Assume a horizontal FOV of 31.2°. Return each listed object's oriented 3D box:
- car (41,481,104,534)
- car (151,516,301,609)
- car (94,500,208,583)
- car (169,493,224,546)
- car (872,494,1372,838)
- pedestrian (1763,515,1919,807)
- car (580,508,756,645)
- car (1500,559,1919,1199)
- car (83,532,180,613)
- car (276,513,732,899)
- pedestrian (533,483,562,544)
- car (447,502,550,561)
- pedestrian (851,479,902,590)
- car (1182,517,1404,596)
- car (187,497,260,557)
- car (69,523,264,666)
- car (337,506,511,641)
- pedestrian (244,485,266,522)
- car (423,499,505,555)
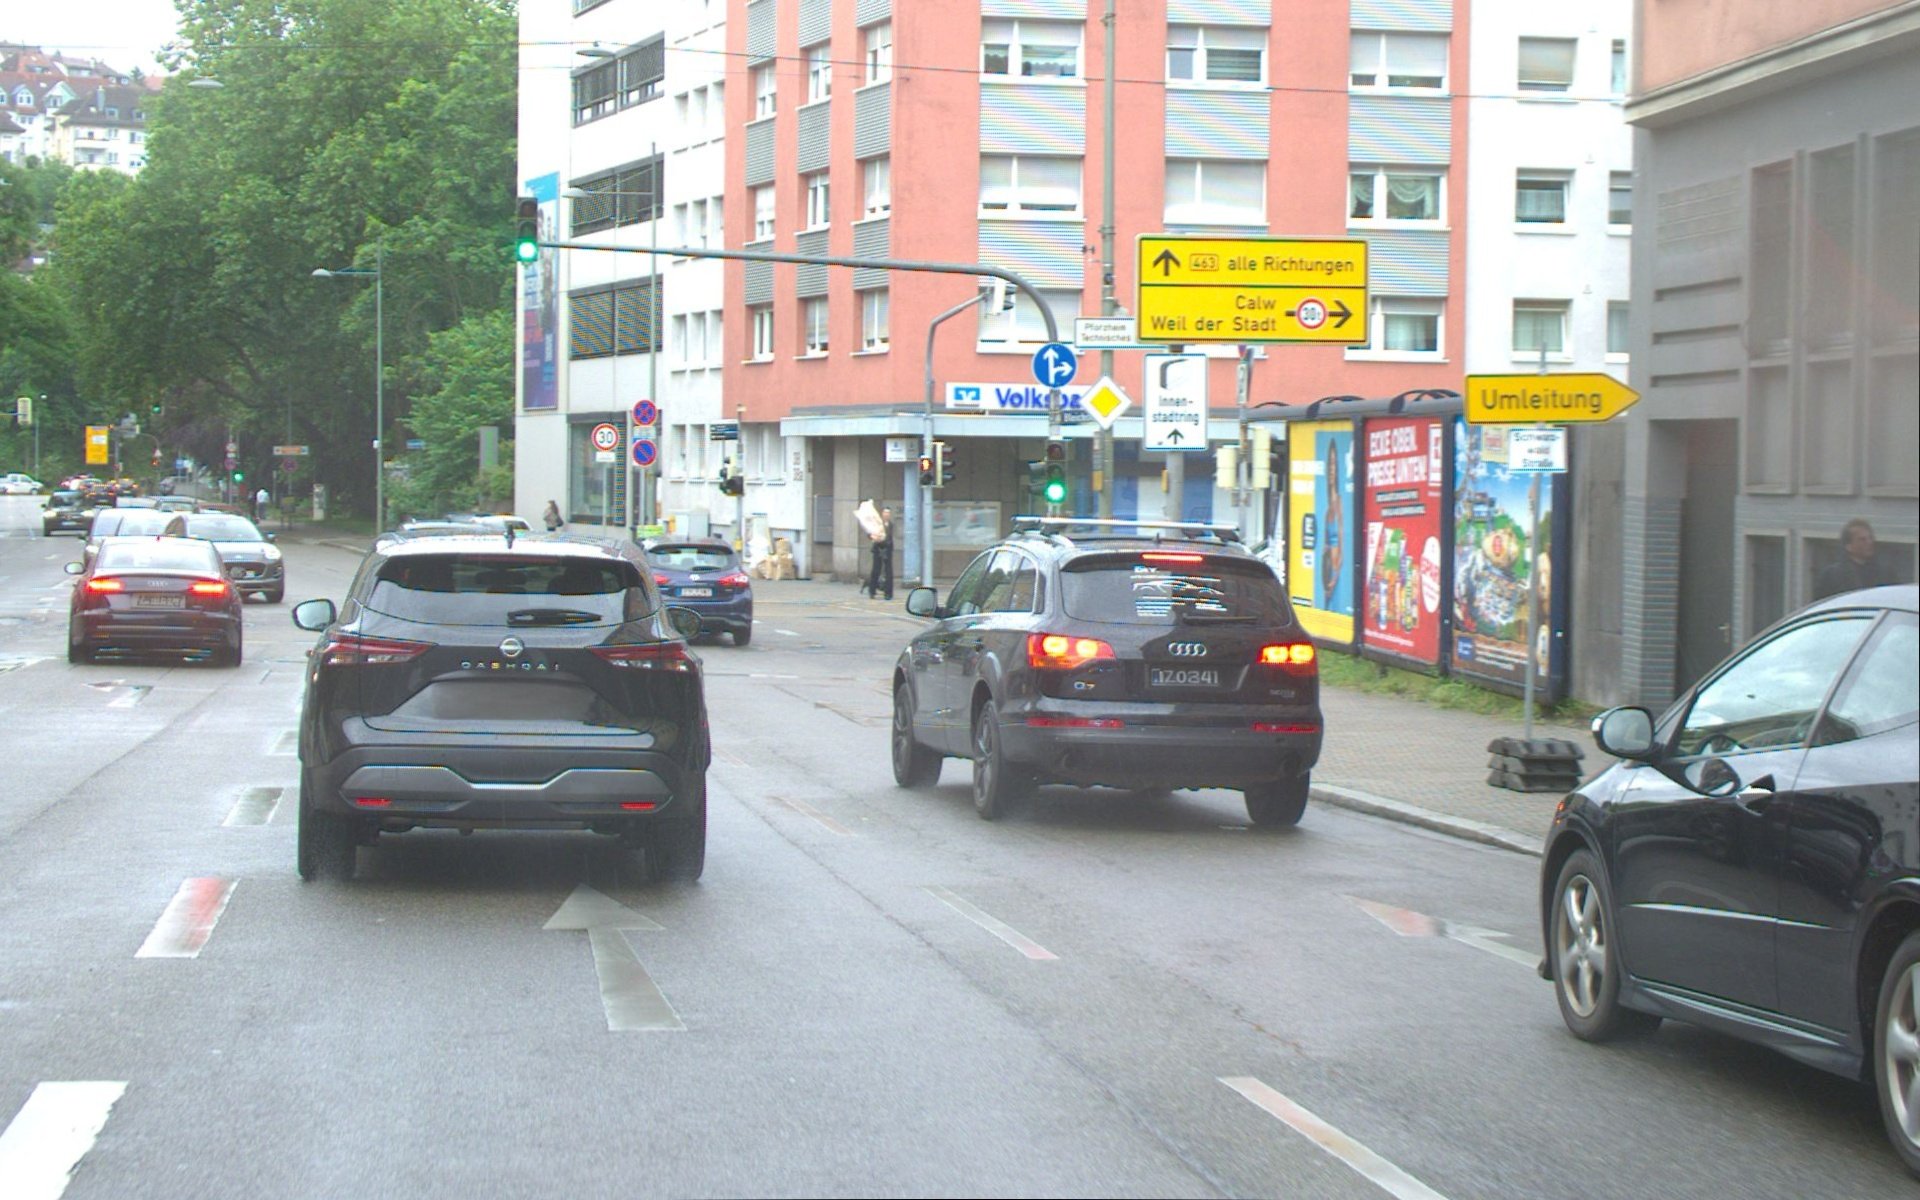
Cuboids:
[{"bbox_3d":[-33.339,-3.497,129.188,1.993,1.853,4.002,2,2,-11],"label":"car"},{"bbox_3d":[-12.966,-0.688,60.572,1.855,1.547,4.228,-1,2,-22],"label":"car"},{"bbox_3d":[-15.556,-1.130,65.969,1.933,1.521,4.136,0,1,-16],"label":"car"},{"bbox_3d":[-27.815,-2.937,125.224,1.820,1.790,3.867,2,2,-14],"label":"car"},{"bbox_3d":[0.858,0.325,21.665,2.020,1.863,4.901,2,1,-10],"label":"car"},{"bbox_3d":[5.592,0.365,21.687,0.672,1.781,1.095,1,2,-6],"label":"pedestrian"},{"bbox_3d":[-4.201,-0.371,48.907,1.945,1.810,4.001,-2,2,-12],"label":"car"},{"bbox_3d":[2.943,0.648,9.389,1.783,1.491,4.057,1,0,-8],"label":"car"},{"bbox_3d":[-17.055,-0.594,70.906,1.820,1.603,4.432,0,1,-12],"label":"car"},{"bbox_3d":[-2.276,0.421,16.590,1.894,1.623,4.001,1,1,-10],"label":"car"},{"bbox_3d":[-11.694,-2.452,97.428,0.612,1.731,0.681,-2,2,-23],"label":"pedestrian"},{"bbox_3d":[-11.960,-1.796,88.902,1.774,1.396,4.582,-2,3,-19],"label":"car"},{"bbox_3d":[-1.661,-1.311,68.404,0.825,2.151,0.770,2,2,-10],"label":"pedestrian"},{"bbox_3d":[6.402,-0.861,66.318,3.945,1.481,1.703,0,2,-10],"label":"car"},{"bbox_3d":[-21.829,-2.175,101.841,1.820,1.606,3.867,2,2,-16],"label":"car"},{"bbox_3d":[-9.039,-0.101,39.188,1.993,1.383,4.502,2,2,-13],"label":"car"},{"bbox_3d":[-7.245,-0.399,46.193,1.945,1.679,4.001,-2,2,-13],"label":"car"},{"bbox_3d":[-35.160,-4.815,171.477,0.720,1.785,0.667,3,2,32],"label":"pedestrian"},{"bbox_3d":[-13.739,-2.047,95.153,1.714,1.437,4.083,-2,3,-15],"label":"car"}]
